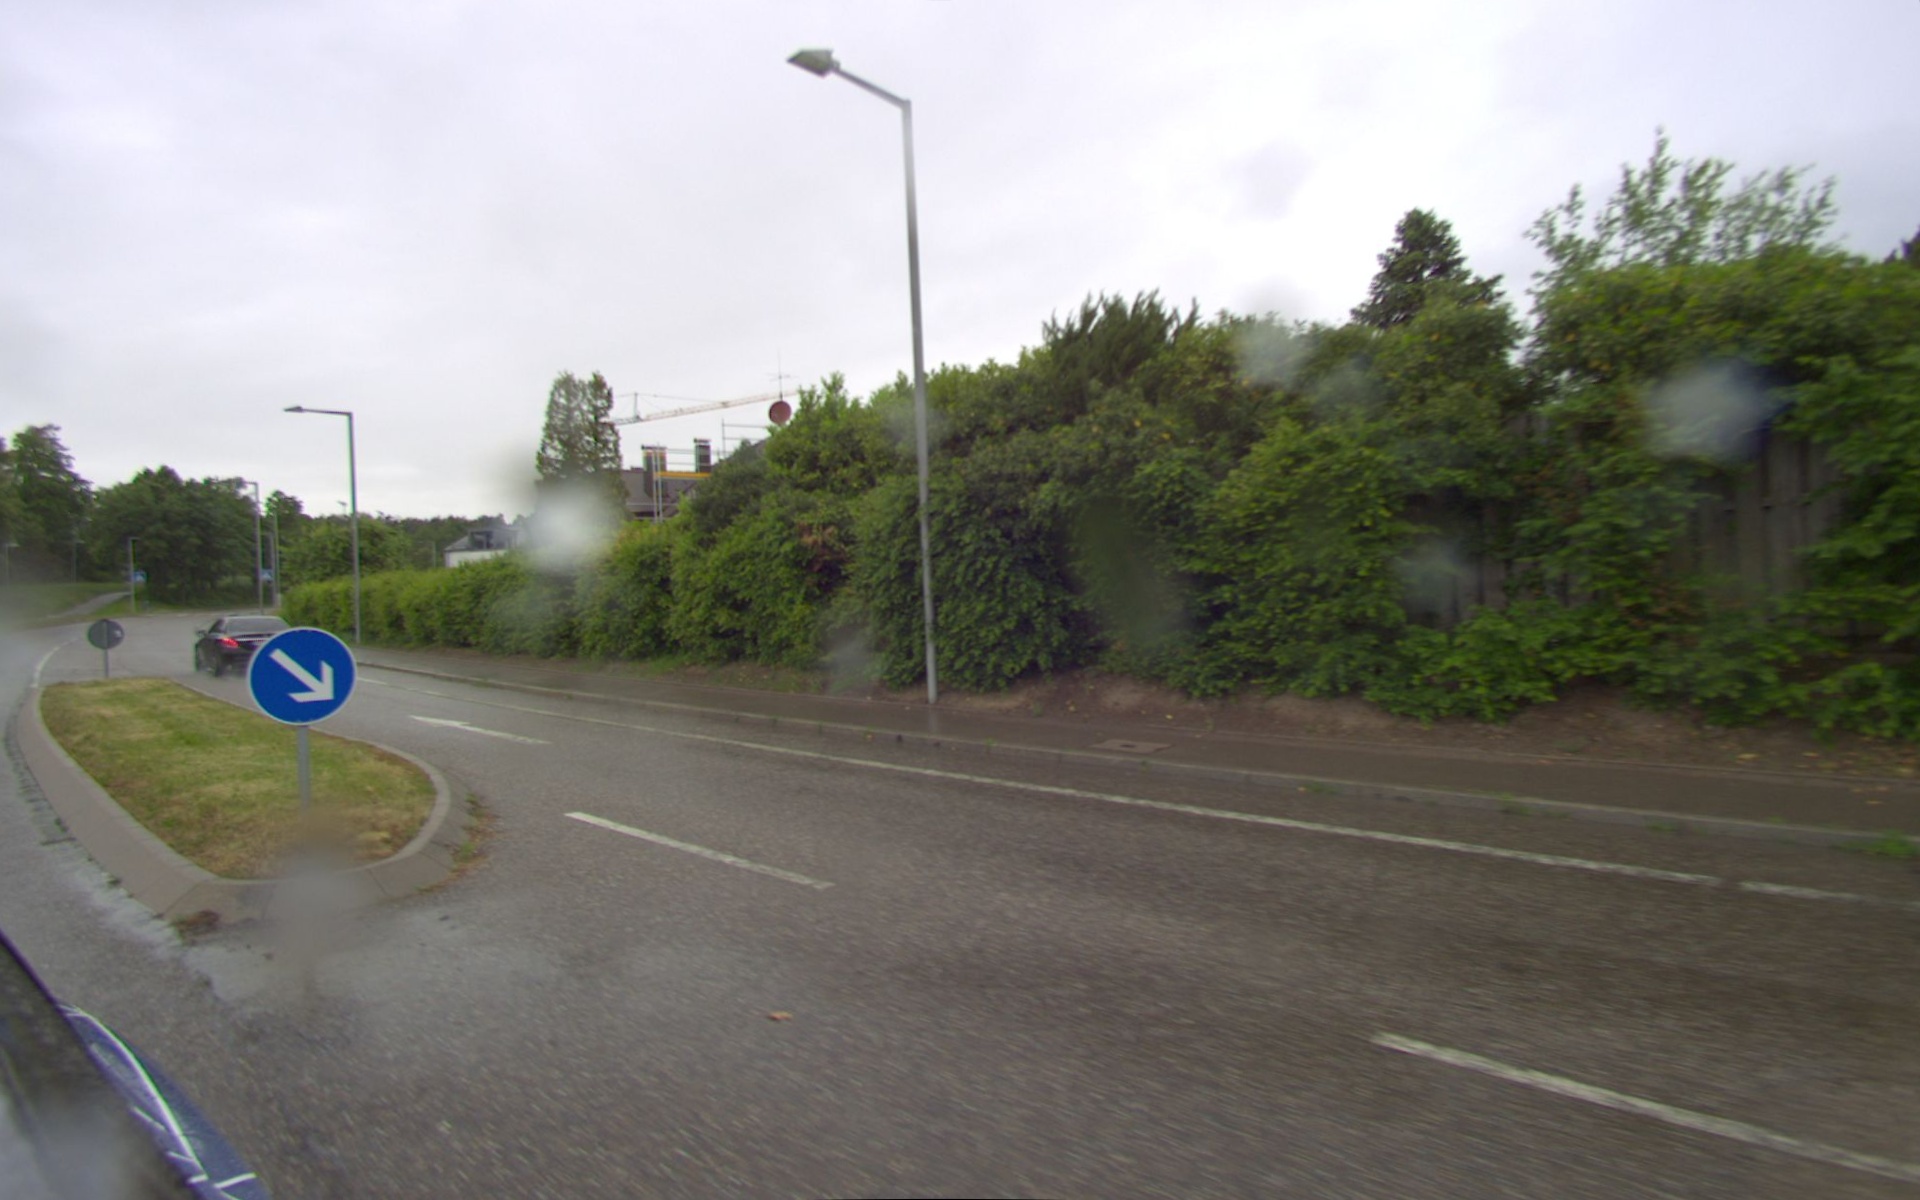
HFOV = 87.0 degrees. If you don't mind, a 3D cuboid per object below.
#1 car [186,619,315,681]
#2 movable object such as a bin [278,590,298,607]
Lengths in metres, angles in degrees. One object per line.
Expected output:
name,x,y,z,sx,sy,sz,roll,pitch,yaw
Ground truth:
car,-17.836,1.190,25.347,1.945,1.425,4.418,1,-2,-44
movable object such as a bin,-59.271,-0.126,89.251,1.116,1.331,1.367,-6,2,-23
